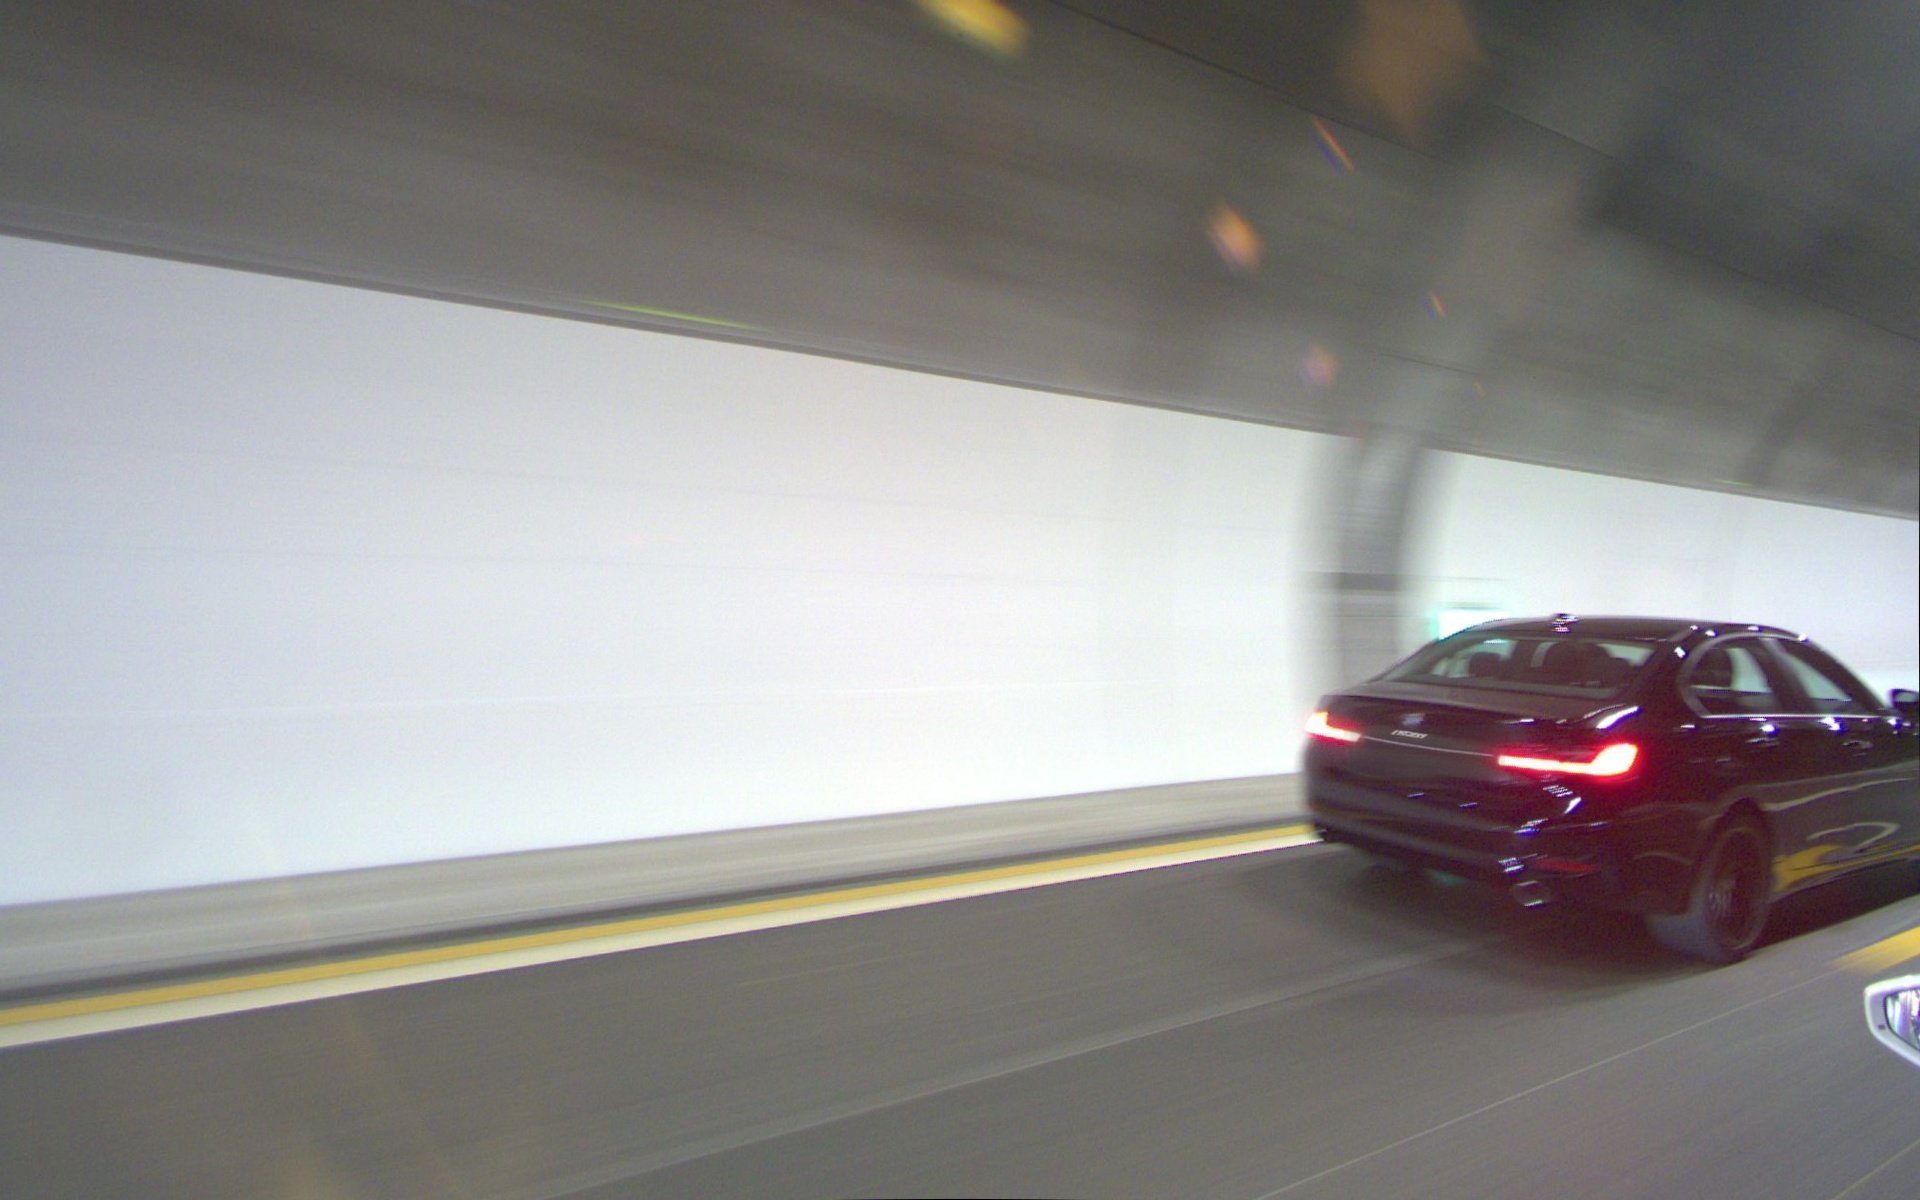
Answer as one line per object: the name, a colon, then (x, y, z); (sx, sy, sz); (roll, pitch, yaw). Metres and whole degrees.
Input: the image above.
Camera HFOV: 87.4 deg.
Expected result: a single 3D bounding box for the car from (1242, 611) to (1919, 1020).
car: (3.986, 0.830, 5.620); (4.824, 1.457, 1.770); (1, 0, -30)
